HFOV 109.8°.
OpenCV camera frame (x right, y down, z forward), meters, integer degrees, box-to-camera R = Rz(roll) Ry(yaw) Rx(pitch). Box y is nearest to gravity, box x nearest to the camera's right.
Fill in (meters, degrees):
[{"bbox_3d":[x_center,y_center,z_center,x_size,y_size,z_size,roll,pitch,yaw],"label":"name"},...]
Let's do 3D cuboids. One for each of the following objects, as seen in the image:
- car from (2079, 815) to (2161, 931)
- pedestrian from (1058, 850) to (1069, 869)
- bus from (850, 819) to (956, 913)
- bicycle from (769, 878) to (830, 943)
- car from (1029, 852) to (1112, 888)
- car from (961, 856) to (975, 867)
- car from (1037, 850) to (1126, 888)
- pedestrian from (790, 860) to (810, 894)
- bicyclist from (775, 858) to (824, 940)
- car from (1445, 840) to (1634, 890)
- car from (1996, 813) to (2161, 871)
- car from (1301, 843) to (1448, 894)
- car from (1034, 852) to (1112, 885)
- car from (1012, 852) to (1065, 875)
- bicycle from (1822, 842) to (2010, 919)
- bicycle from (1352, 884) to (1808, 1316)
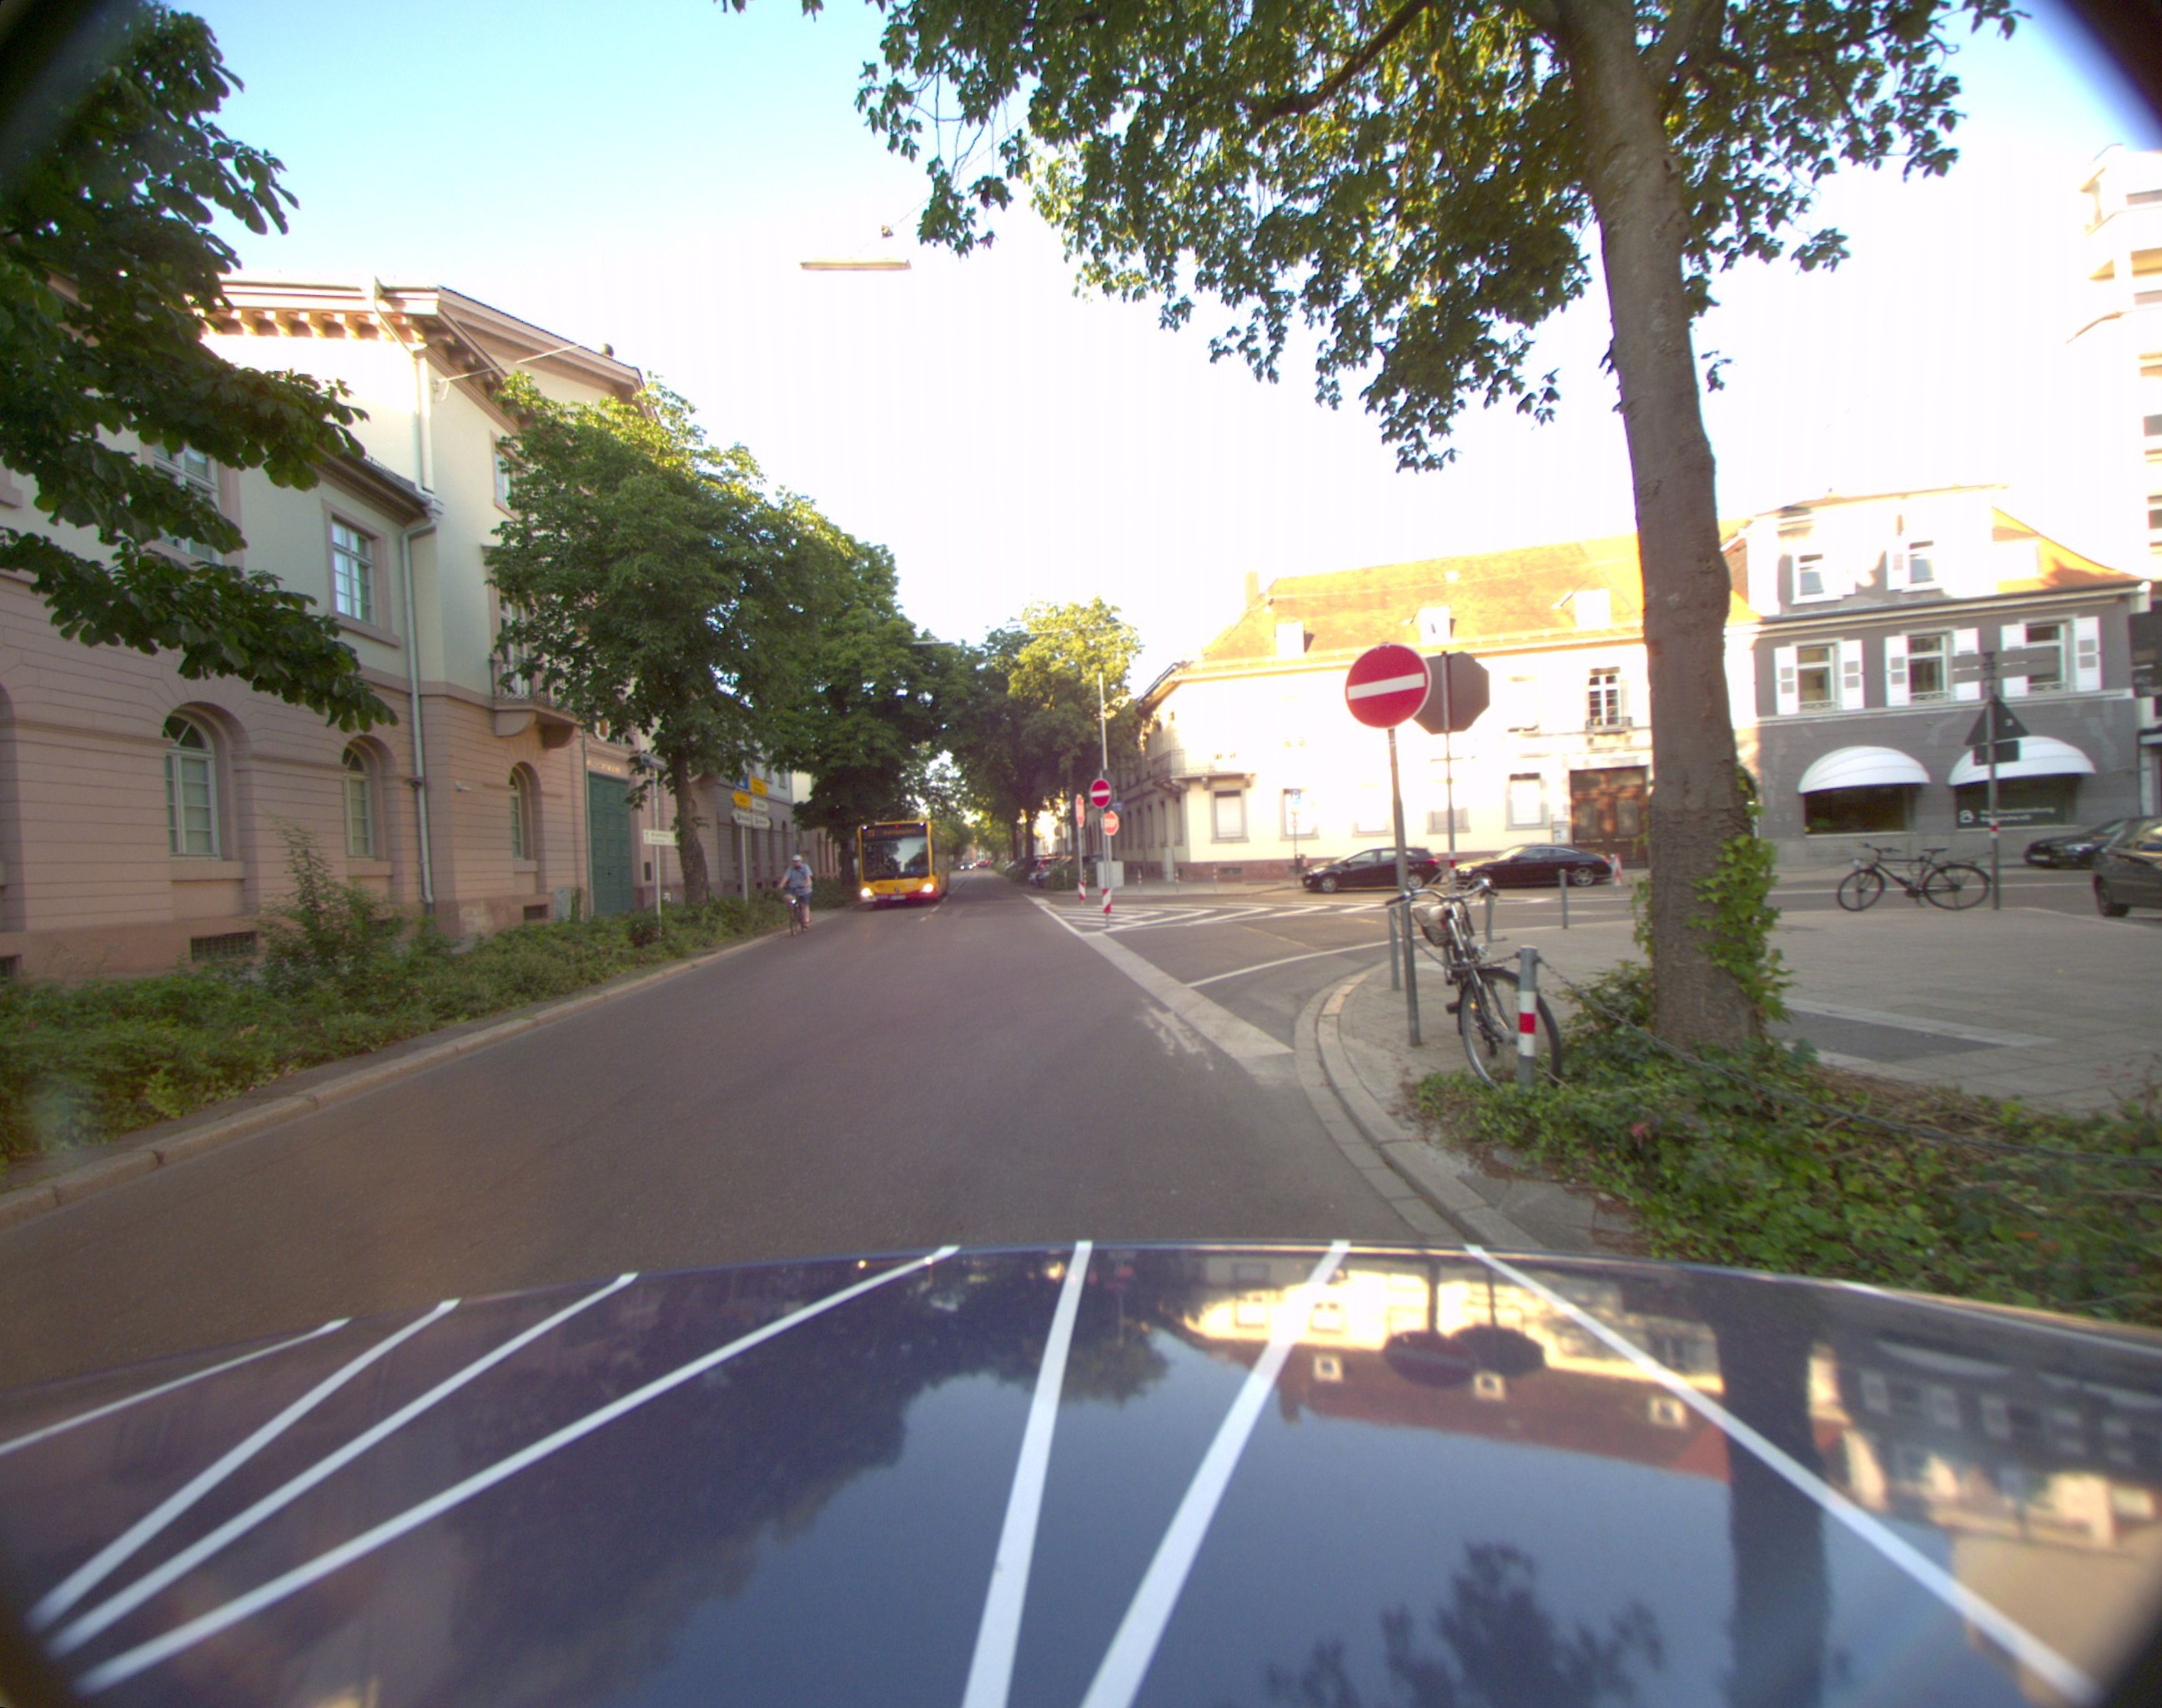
[{"bbox_3d":[14.769,0.232,9.612,1.736,1.452,3.872,-2,-3,40],"label":"car"},{"bbox_3d":[-1.711,0.529,73.506,0.895,1.760,1.021,-2,1,-8],"label":"pedestrian"},{"bbox_3d":[-6.971,0.405,31.589,2.713,2.983,12.074,-4,0,-7],"label":"bus"},{"bbox_3d":[-6.614,1.296,17.978,0.784,1.322,2.076,-4,1,-7],"label":"bicycle"},{"bbox_3d":[-0.555,0.803,39.013,4.000,1.606,1.722,-2,0,-9],"label":"car"},{"bbox_3d":[-19.646,1.278,132.251,2.082,1.687,3.998,-2,0,-6],"label":"car"},{"bbox_3d":[-0.023,0.695,36.666,4.000,1.606,1.827,-2,0,-9],"label":"car"},{"bbox_3d":[-15.493,1.240,41.872,0.801,1.821,0.929,-2,1,-9],"label":"pedestrian"},{"bbox_3d":[-6.621,1.038,17.900,0.784,1.828,0.826,-4,1,-7],"label":"bicyclist"},{"bbox_3d":[14.450,0.367,24.251,4.848,1.386,1.781,-2,0,17],"label":"car"},{"bbox_3d":[28.564,-0.348,20.794,4.241,1.438,1.750,-2,0,16],"label":"car"},{"bbox_3d":[9.768,0.486,25.647,4.422,1.532,1.809,-2,0,16],"label":"car"},{"bbox_3d":[-0.442,0.762,41.477,4.000,1.606,1.722,-2,0,-9],"label":"car"},{"bbox_3d":[-3.442,0.742,61.208,4.000,1.606,1.722,-2,0,-9],"label":"car"},{"bbox_3d":[12.986,0.431,11.894,1.799,1.119,0.729,-3,-2,24],"label":"bicycle"},{"bbox_3d":[2.059,0.847,3.741,0.845,1.260,2.574,-2,0,8],"label":"bicycle"}]
